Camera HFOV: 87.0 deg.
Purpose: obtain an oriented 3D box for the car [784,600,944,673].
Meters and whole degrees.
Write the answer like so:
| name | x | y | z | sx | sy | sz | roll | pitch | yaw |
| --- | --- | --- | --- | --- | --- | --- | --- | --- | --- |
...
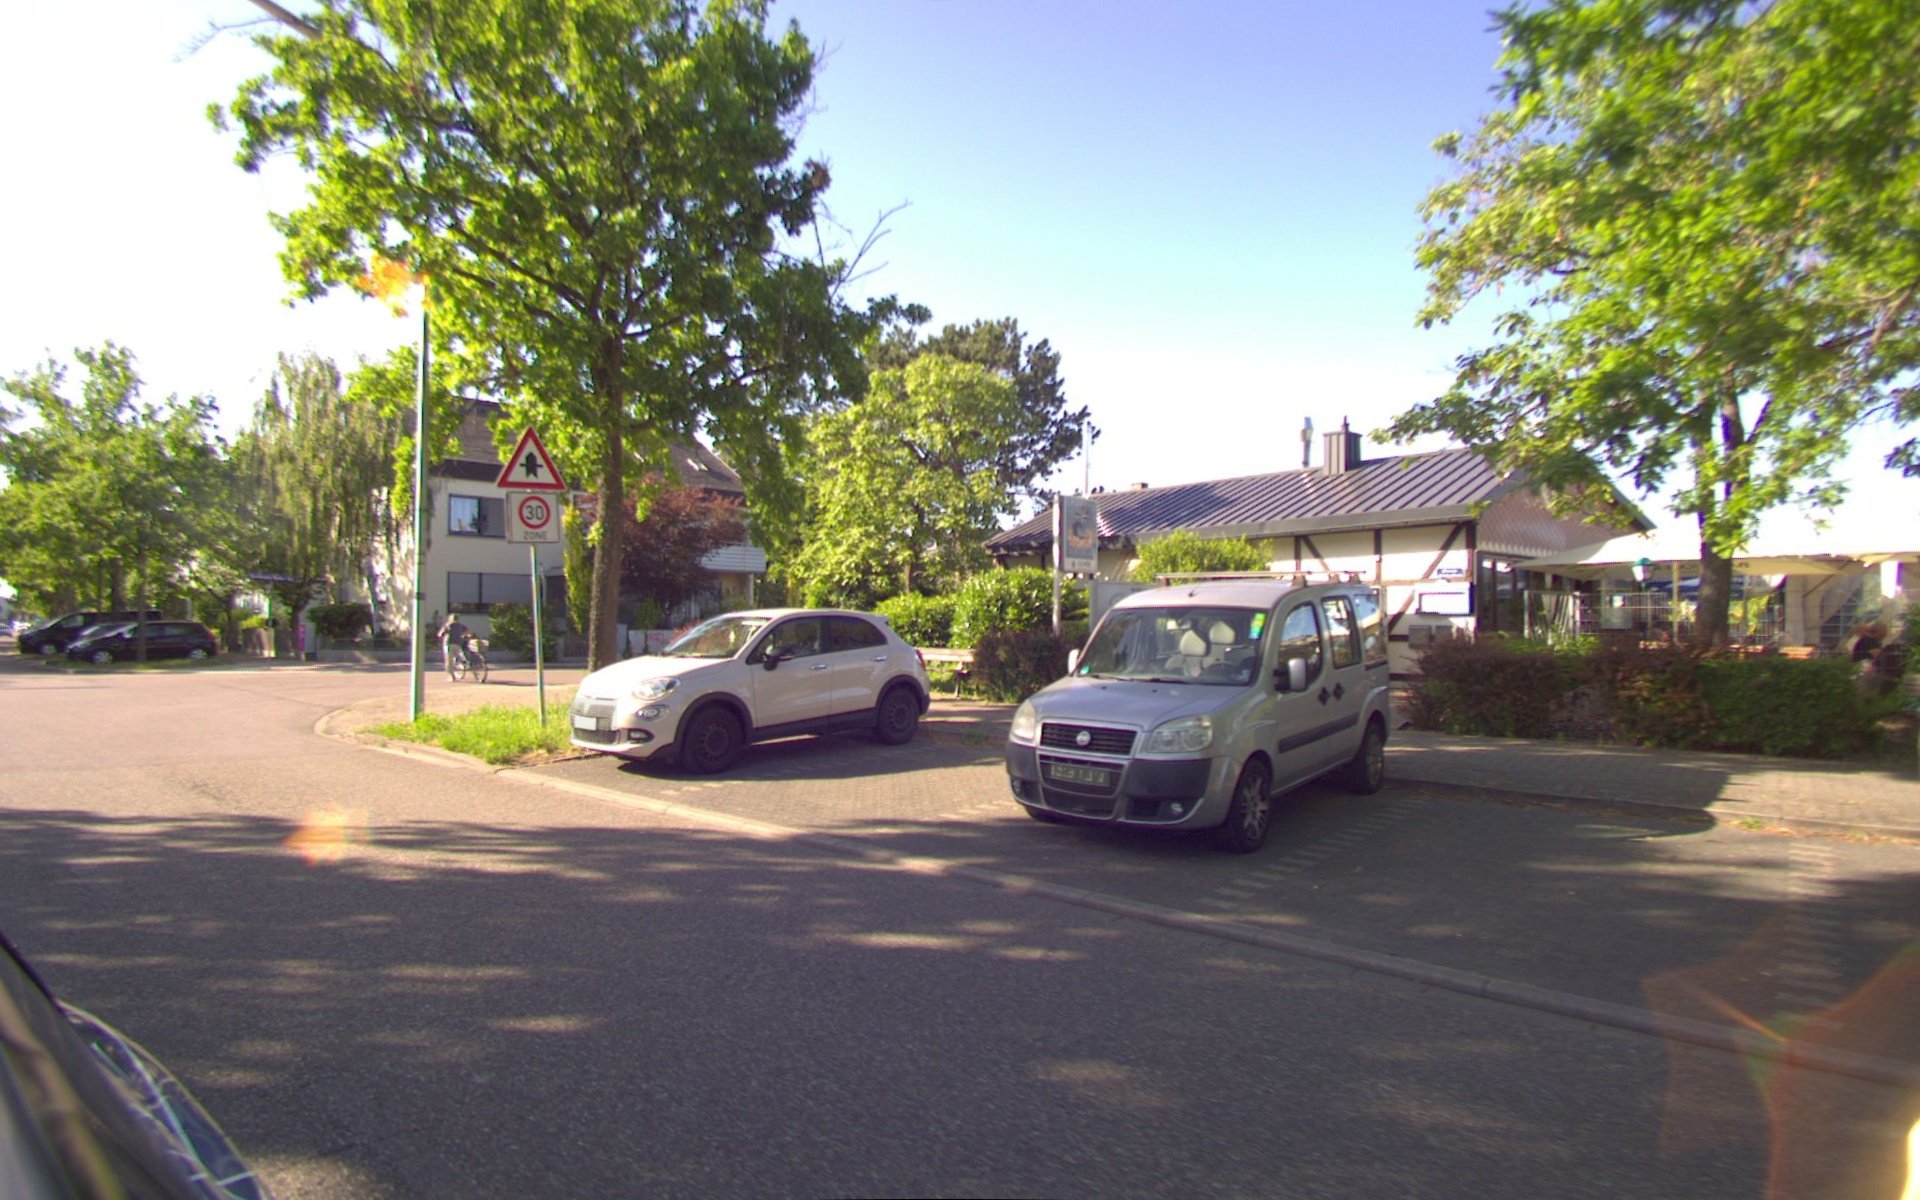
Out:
| name | x | y | z | sx | sy | sz | roll | pitch | yaw |
| --- | --- | --- | --- | --- | --- | --- | --- | --- | --- |
| car | -3.421 | 1.335 | 37.119 | 5.732 | 2.472 | 2.003 | 2 | -3 | -41 |

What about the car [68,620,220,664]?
| name | x | y | z | sx | sy | sz | roll | pitch | yaw |
| --- | --- | --- | --- | --- | --- | --- | --- | --- | --- |
| car | -29.329 | 1.508 | 36.470 | 1.940 | 1.490 | 3.984 | -1 | -2 | 41 |

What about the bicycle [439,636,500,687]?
| name | x | y | z | sx | sy | sz | roll | pitch | yaw |
| --- | --- | --- | --- | --- | --- | --- | --- | --- | --- |
| bicycle | -11.615 | 1.431 | 23.928 | 1.891 | 1.096 | 0.632 | 1 | -1 | 43 |

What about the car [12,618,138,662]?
| name | x | y | z | sx | sy | sz | roll | pitch | yaw |
| --- | --- | --- | --- | --- | --- | --- | --- | --- | --- |
| car | -38.215 | 1.721 | 43.765 | 3.979 | 1.791 | 1.943 | 2 | -3 | -44 |

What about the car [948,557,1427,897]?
| name | x | y | z | sx | sy | sz | roll | pitch | yaw |
| --- | --- | --- | --- | --- | --- | --- | --- | --- | --- |
| car | 2.013 | 0.720 | 7.931 | 1.997 | 1.898 | 4.186 | -1 | -1 | 39 |

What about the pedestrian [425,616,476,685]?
| name | x | y | z | sx | sy | sz | roll | pitch | yaw |
| --- | --- | --- | --- | --- | --- | --- | --- | --- | --- |
| pedestrian | -11.954 | 1.180 | 23.747 | 0.866 | 1.554 | 0.719 | 1 | -1 | 37 |

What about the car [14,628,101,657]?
| name | x | y | z | sx | sy | sz | roll | pitch | yaw |
| --- | --- | --- | --- | --- | --- | --- | --- | --- | --- |
| car | -56.808 | 2.651 | 63.744 | 3.979 | 1.791 | 1.943 | 2 | -3 | -44 |

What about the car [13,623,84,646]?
| name | x | y | z | sx | sy | sz | roll | pitch | yaw |
| --- | --- | --- | --- | --- | --- | --- | --- | --- | --- |
| car | -70.422 | 2.669 | 78.216 | 3.979 | 1.791 | 1.943 | 2 | -3 | -44 |

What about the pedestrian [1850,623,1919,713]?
| name | x | y | z | sx | sy | sz | roll | pitch | yaw |
| --- | --- | --- | --- | --- | --- | --- | --- | --- | --- |
| pedestrian | 14.647 | 1.053 | 15.811 | 0.858 | 1.371 | 0.664 | 0 | -2 | 7 |

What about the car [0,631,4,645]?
| name | x | y | z | sx | sy | sz | roll | pitch | yaw |
| --- | --- | --- | --- | --- | --- | --- | --- | --- | --- |
| car | -134.497 | 5.286 | 140.968 | 1.912 | 1.791 | 4.042 | 2 | -3 | -43 |

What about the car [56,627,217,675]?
| name | x | y | z | sx | sy | sz | roll | pitch | yaw |
| --- | --- | --- | --- | --- | --- | --- | --- | --- | --- |
| car | -27.426 | 1.666 | 33.761 | 3.979 | 1.490 | 1.943 | 2 | -3 | -44 |

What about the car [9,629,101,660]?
| name | x | y | z | sx | sy | sz | roll | pitch | yaw |
| --- | --- | --- | --- | --- | --- | --- | --- | --- | --- |
| car | -53.901 | 2.636 | 60.332 | 3.979 | 1.791 | 1.943 | 2 | -3 | -44 |

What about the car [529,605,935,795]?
| name | x | y | z | sx | sy | sz | roll | pitch | yaw |
| --- | --- | --- | --- | --- | --- | --- | --- | --- | --- |
| car | -2.331 | 0.909 | 11.119 | 1.875 | 1.655 | 4.020 | -1 | -1 | 42 |

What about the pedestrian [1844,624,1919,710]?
| name | x | y | z | sx | sy | sz | roll | pitch | yaw |
| --- | --- | --- | --- | --- | --- | --- | --- | --- | --- |
| pedestrian | 15.001 | 1.061 | 16.371 | 0.654 | 1.345 | 0.872 | 1 | -2 | -30 |

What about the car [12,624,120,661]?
| name | x | y | z | sx | sy | sz | roll | pitch | yaw |
| --- | --- | --- | --- | --- | --- | --- | --- | --- | --- |
| car | -45.324 | 2.143 | 51.355 | 3.979 | 1.791 | 1.943 | 2 | -3 | -44 |
